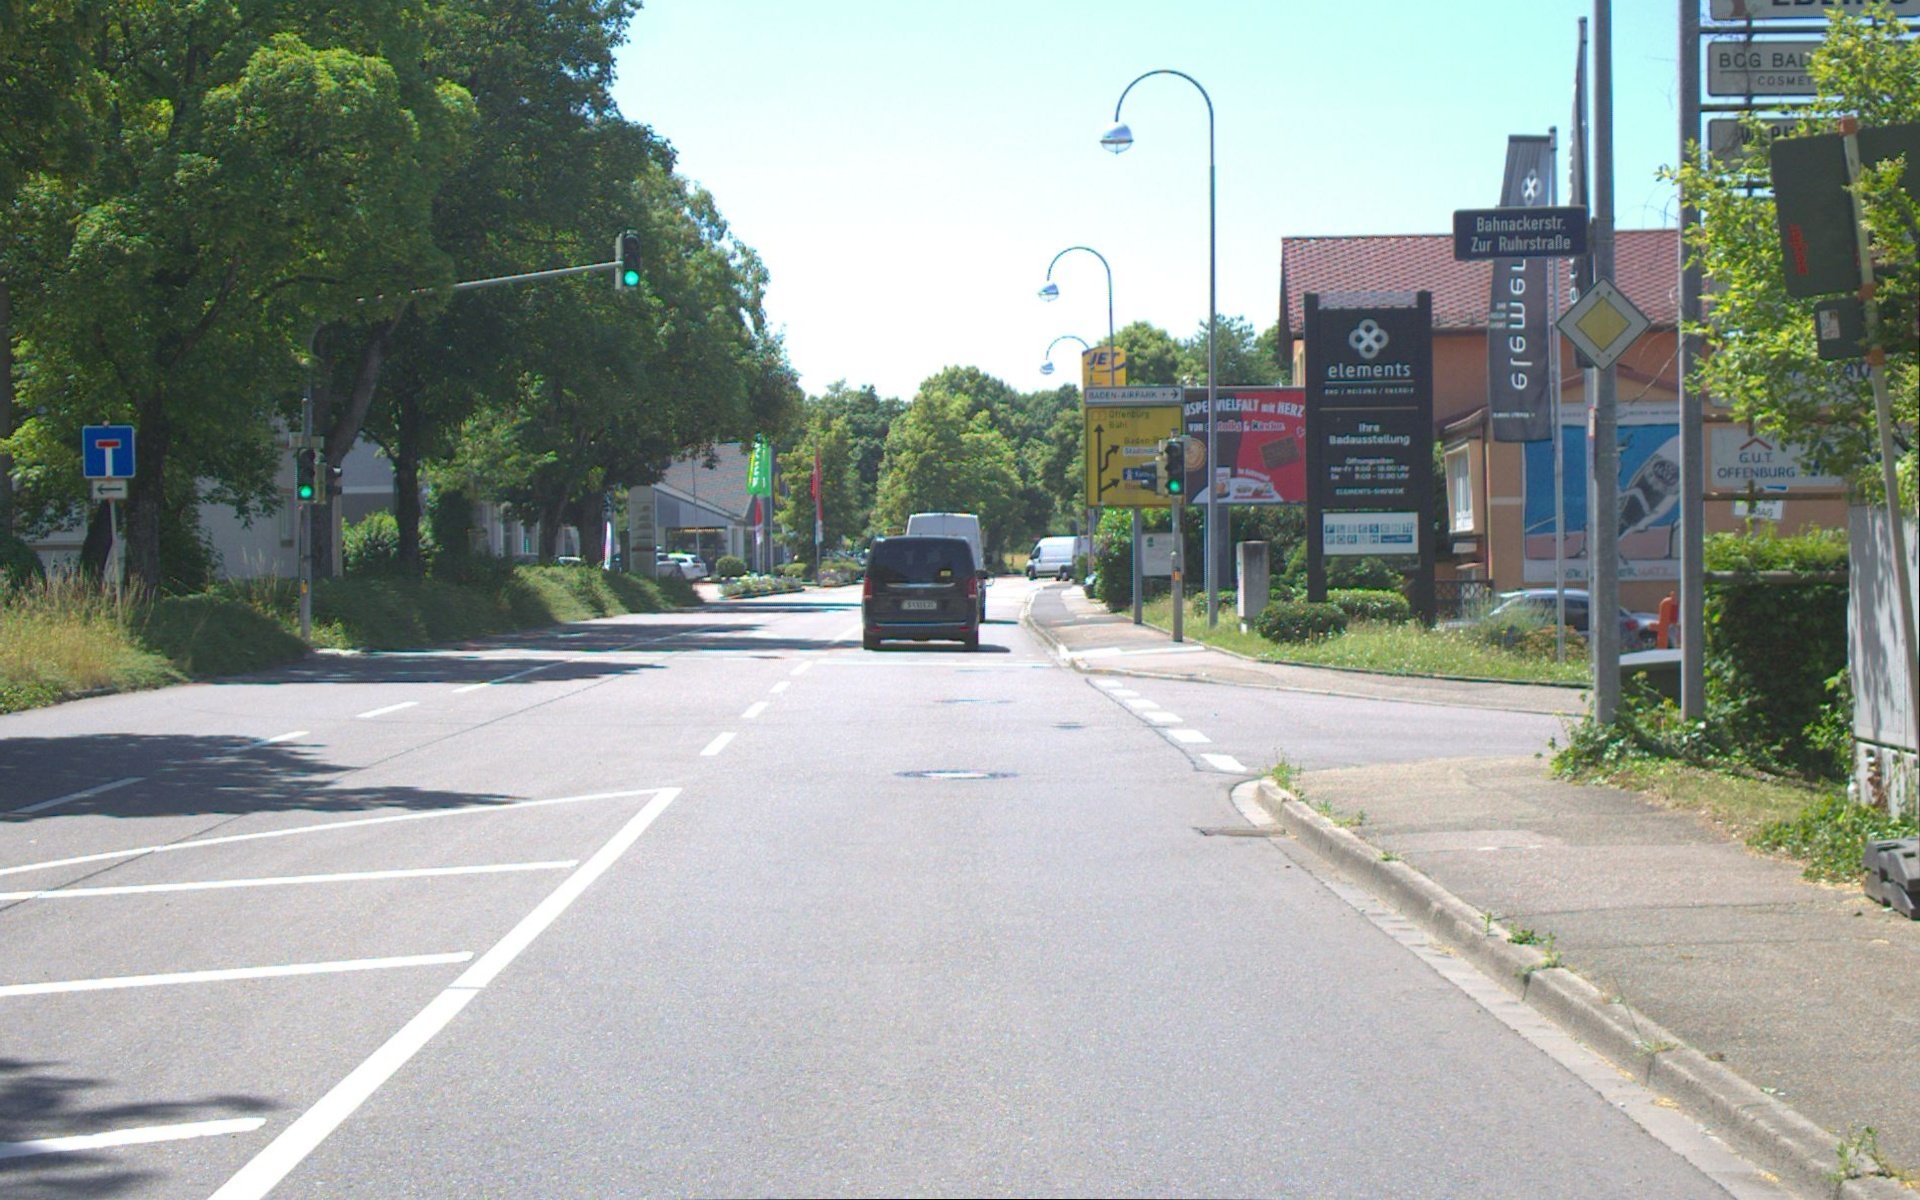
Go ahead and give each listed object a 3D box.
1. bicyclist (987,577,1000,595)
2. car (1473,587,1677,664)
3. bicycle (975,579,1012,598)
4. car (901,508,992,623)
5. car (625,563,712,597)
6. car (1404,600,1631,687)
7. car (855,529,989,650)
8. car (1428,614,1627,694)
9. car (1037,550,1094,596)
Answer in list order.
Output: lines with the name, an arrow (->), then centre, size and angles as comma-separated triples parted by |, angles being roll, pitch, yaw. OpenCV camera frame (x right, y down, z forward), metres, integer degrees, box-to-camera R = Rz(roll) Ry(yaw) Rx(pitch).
bicyclist -> 1.628, -0.680, 168.800 | 0.468, 0.850, 0.558 | -1, 3, -20
car -> 13.281, 0.547, 74.486 | 4.260, 1.593, 1.889 | 0, 1, 8
bicycle -> 1.636, -0.559, 168.806 | 1.715, 0.884, 0.558 | -1, 3, -20
car -> -0.300, -0.855, 83.335 | 2.120, 2.668, 5.662 | 1, 1, 0
car -> -14.809, -1.019, 174.832 | 3.989, 1.656, 1.999 | 1, 1, 10
car -> 11.145, 0.860, 68.903 | 4.272, 1.641, 1.889 | 1, 1, 2
car -> -0.658, -0.209, 56.121 | 1.993, 1.887, 4.001 | 1, 1, -3
car -> 10.768, 1.017, 65.388 | 3.622, 1.412, 1.698 | 1, 1, 6
car -> 6.009, -1.536, 195.763 | 2.352, 2.538, 4.957 | 0, 1, -9
